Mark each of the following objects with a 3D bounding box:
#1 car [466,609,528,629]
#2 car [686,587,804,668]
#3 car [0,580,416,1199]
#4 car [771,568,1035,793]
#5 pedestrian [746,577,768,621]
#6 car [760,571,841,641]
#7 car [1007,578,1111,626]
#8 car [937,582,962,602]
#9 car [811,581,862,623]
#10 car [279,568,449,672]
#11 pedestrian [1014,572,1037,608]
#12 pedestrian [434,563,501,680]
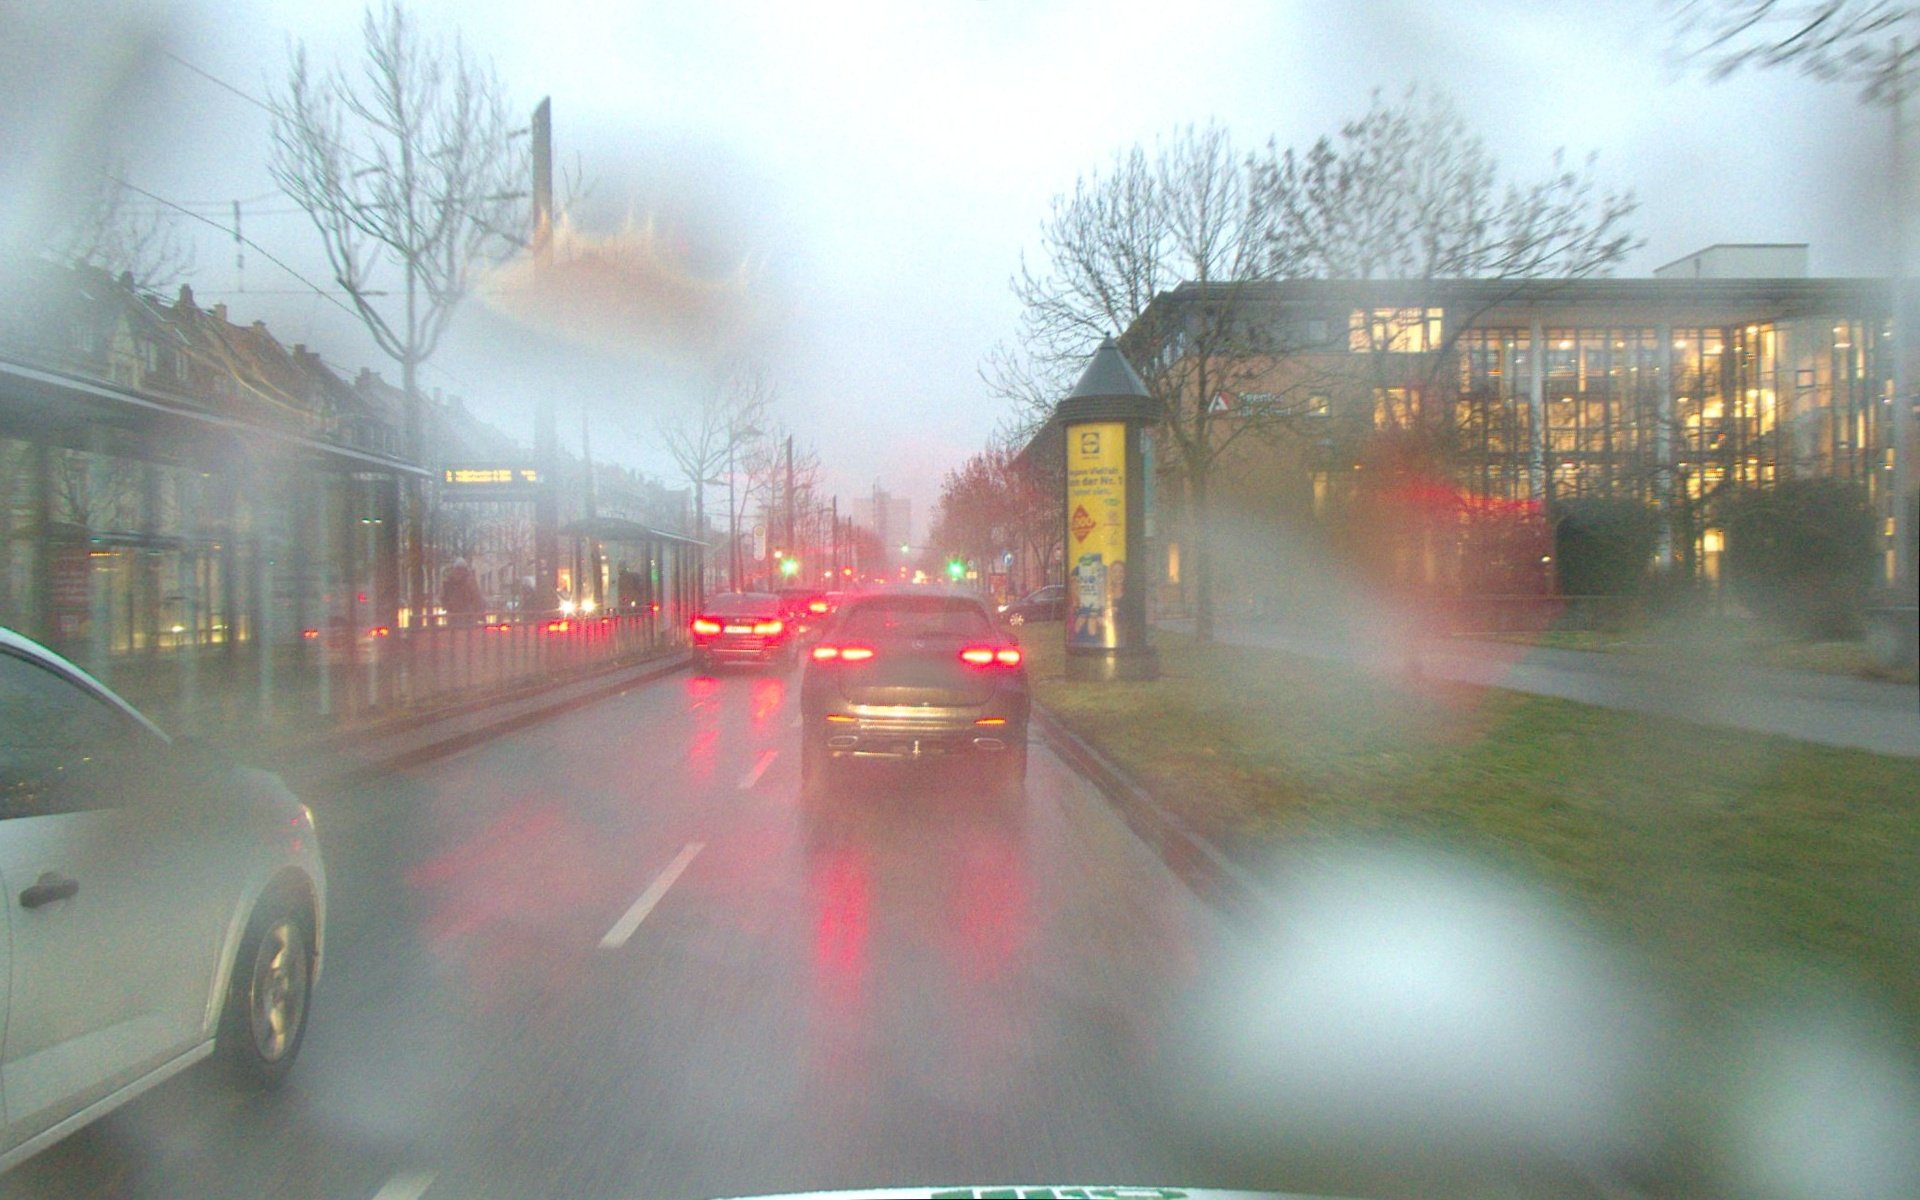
[{"bbox_3d":[-31.461,1.282,112.461,3.695,1.176,1.650,-2,1,3],"label":"car"},{"bbox_3d":[-4.105,0.485,32.194,1.954,1.422,3.998,-1,1,-3],"label":"car"},{"bbox_3d":[-2.716,0.744,3.576,1.592,1.513,4.002,-1,1,2],"label":"car"},{"bbox_3d":[-0.493,0.583,14.459,1.951,1.644,3.999,-1,1,-2],"label":"car"},{"bbox_3d":[-7.419,-0.049,60.508,0.685,1.579,0.668,-1,0,-2],"label":"pedestrian"},{"bbox_3d":[-4.361,0.138,45.800,1.953,1.796,3.998,-1,1,-2],"label":"car"},{"bbox_3d":[3.785,0.071,63.560,3.782,1.587,1.765,-3,1,-1],"label":"car"},{"bbox_3d":[-0.865,-0.707,140.033,1.953,1.626,3.998,-2,0,-2],"label":"car"},{"bbox_3d":[-5.171,0.061,69.730,1.954,1.646,3.998,-1,1,-3],"label":"car"},{"bbox_3d":[-11.588,0.348,32.429,1.953,1.854,3.998,-2,0,-2],"label":"car"},{"bbox_3d":[2.973,-0.452,75.025,0.887,1.624,0.499,-1,0,40],"label":"pedestrian"},{"bbox_3d":[-7.034,0.302,23.661,0.695,1.634,0.747,0,0,2],"label":"pedestrian"}]
